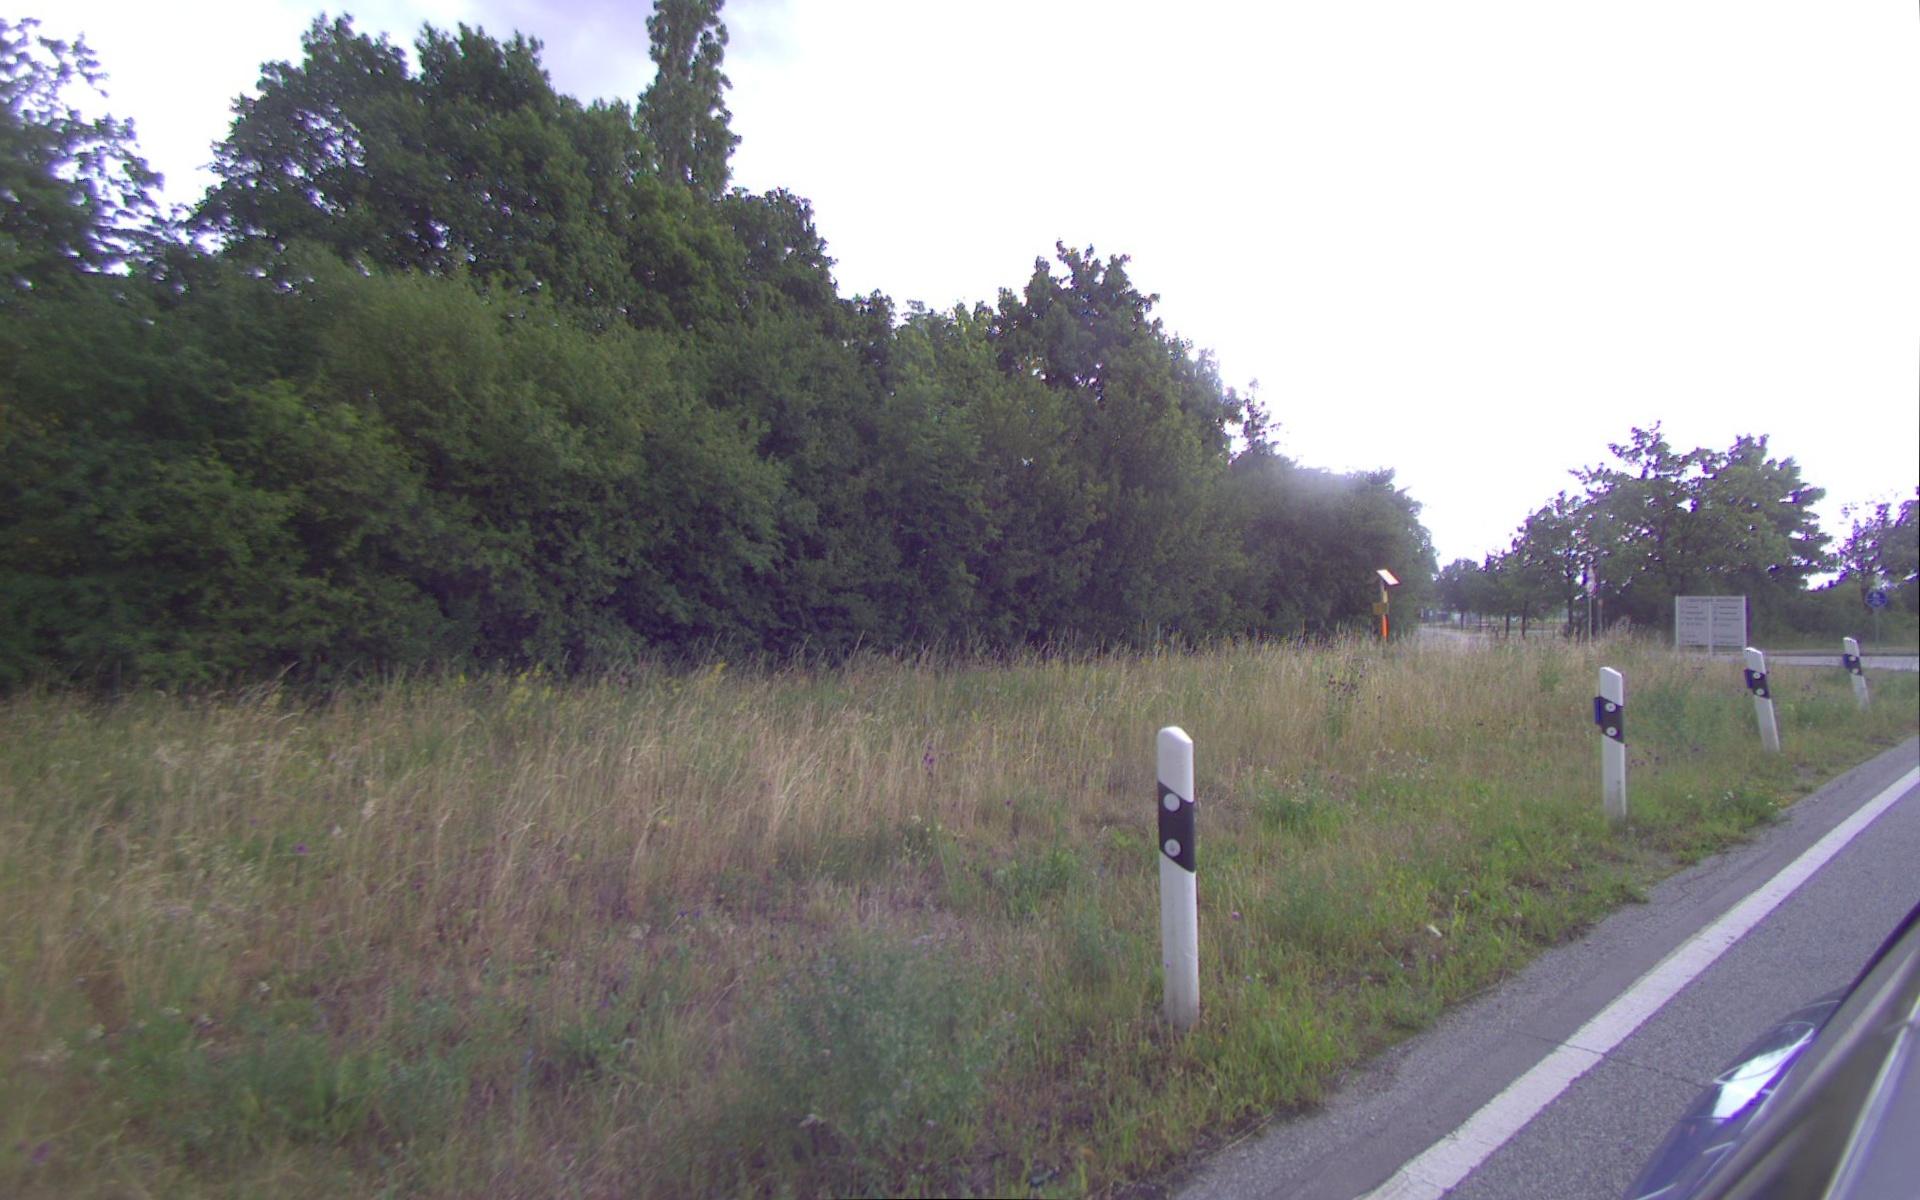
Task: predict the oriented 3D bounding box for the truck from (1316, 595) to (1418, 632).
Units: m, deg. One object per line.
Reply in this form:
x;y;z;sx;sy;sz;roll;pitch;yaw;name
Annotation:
36.215;1.155;90.053;8.286;3.149;3.046;0;0;26;truck
